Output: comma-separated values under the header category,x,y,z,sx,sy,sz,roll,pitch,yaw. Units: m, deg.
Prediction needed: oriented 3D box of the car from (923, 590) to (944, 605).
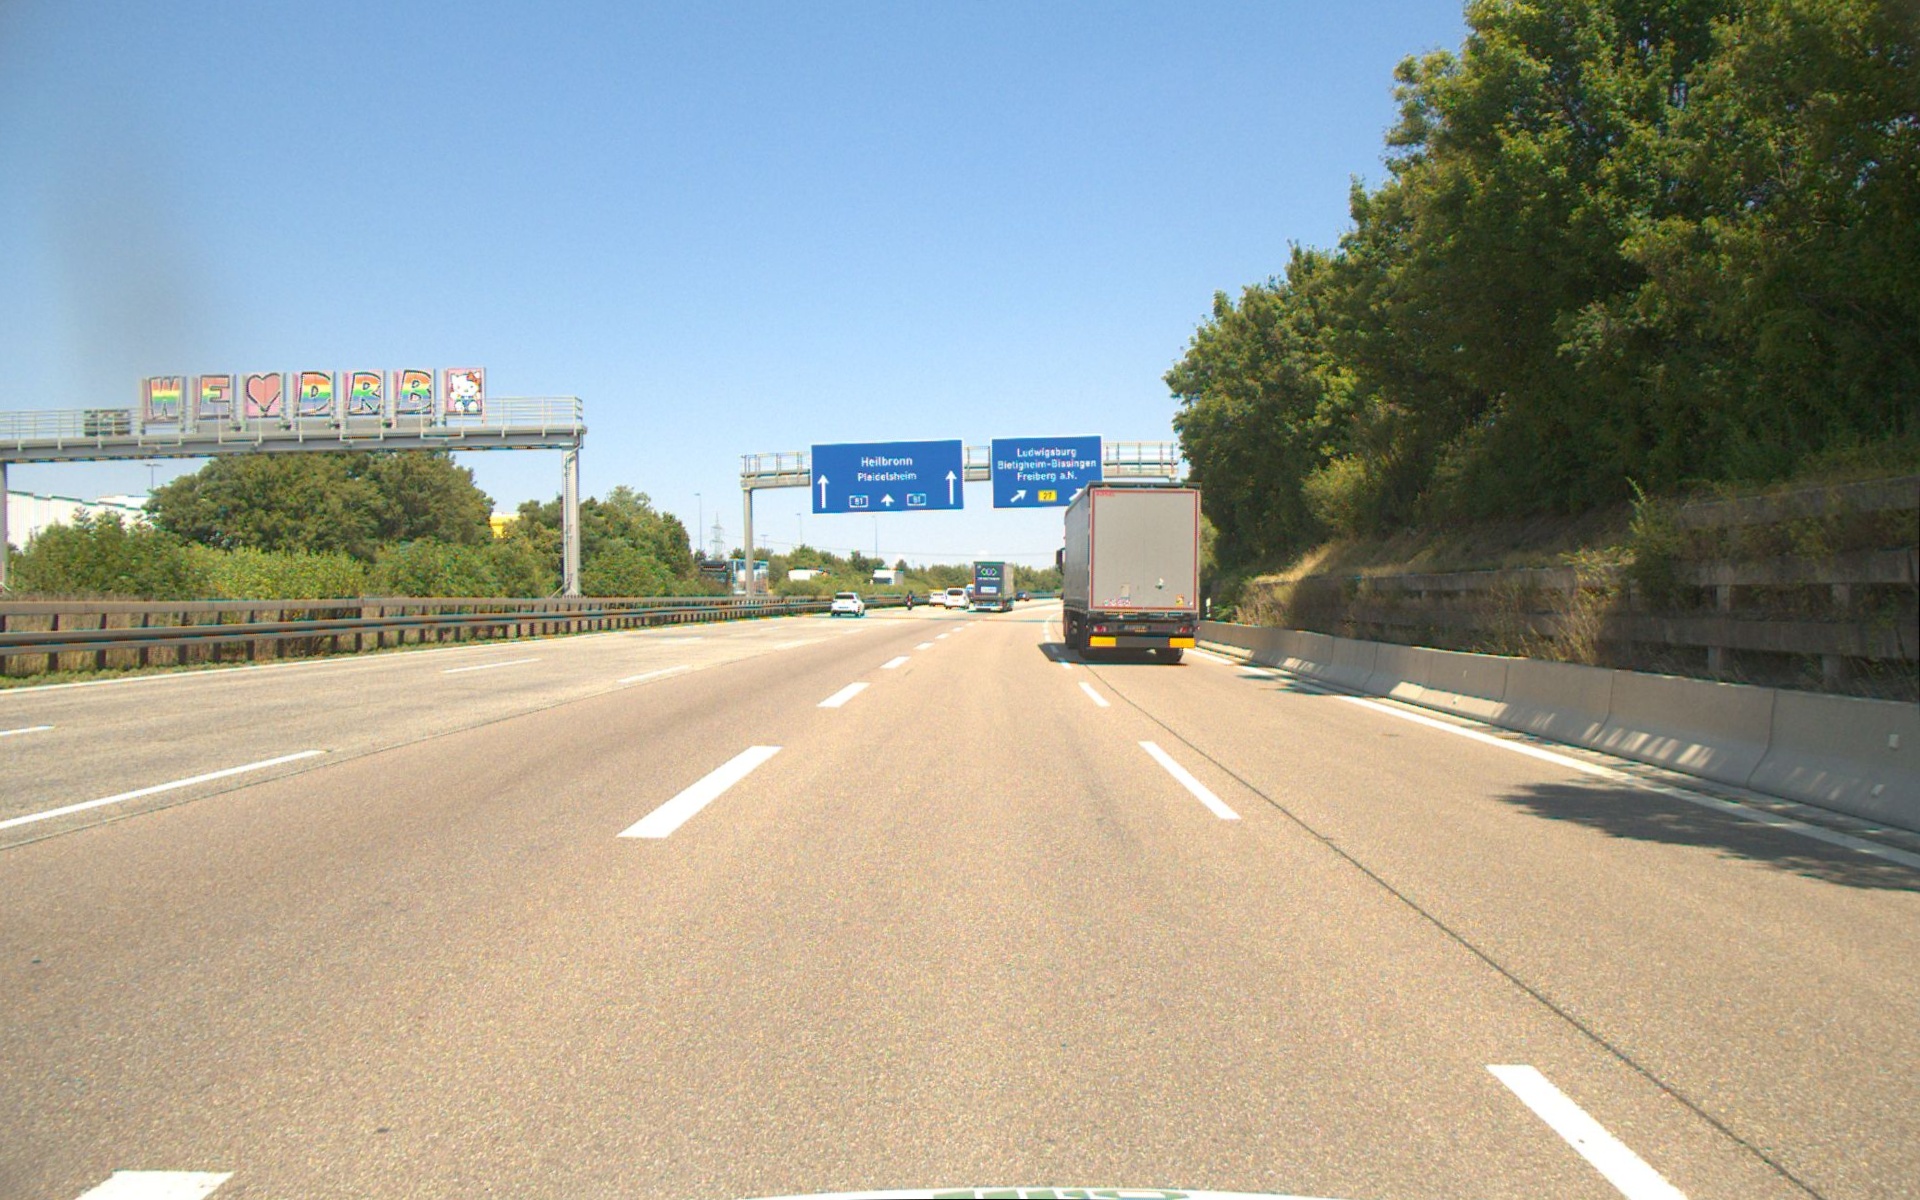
category,x,y,z,sx,sy,sz,roll,pitch,yaw
car,-2.670,-0.255,168.236,1.837,1.466,5.127,0,-1,3

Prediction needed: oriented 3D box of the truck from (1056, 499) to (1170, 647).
category,x,y,z,sx,sy,sz,roll,pitch,yaw
truck,4.460,-0.815,49.645,2.867,4.085,7.585,0,1,1

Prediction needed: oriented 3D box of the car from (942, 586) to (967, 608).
category,x,y,z,sx,sy,sz,roll,pitch,yaw
car,-0.475,-0.317,149.787,1.890,1.884,4.695,-1,1,3

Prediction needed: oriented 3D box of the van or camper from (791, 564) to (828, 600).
category,x,y,z,sx,sy,sz,roll,pitch,yaw
van or camper,-14.302,-1.683,157.548,2.423,3.277,7.825,1,0,3

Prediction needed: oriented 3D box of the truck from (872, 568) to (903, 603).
category,x,y,z,sx,sy,sz,roll,pitch,yaw
truck,-9.193,-1.858,210.595,2.695,4.281,10.408,1,0,4

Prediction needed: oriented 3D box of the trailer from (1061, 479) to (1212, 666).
category,x,y,z,sx,sy,sz,roll,pitch,yaw
trailer,4.266,-0.717,42.490,2.867,4.085,12.041,0,1,1

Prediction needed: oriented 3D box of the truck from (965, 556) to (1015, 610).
category,x,y,z,sx,sy,sz,roll,pitch,yaw
truck,2.628,-1.433,141.017,3.669,4.345,14.501,1,0,3

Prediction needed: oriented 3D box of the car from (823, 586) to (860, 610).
category,x,y,z,sx,sy,sz,roll,pitch,yaw
car,-7.337,-0.095,103.103,1.744,1.466,4.670,0,0,3

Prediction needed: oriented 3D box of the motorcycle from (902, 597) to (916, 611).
category,x,y,z,sx,sy,sz,roll,pitch,yaw
motorcycle,-4.251,0.302,137.650,0.893,1.108,2.851,0,0,3

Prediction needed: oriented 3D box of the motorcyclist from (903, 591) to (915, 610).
category,x,y,z,sx,sy,sz,roll,pitch,yaw
motorcyclist,-4.249,0.042,137.639,0.874,1.625,1.300,0,1,3
